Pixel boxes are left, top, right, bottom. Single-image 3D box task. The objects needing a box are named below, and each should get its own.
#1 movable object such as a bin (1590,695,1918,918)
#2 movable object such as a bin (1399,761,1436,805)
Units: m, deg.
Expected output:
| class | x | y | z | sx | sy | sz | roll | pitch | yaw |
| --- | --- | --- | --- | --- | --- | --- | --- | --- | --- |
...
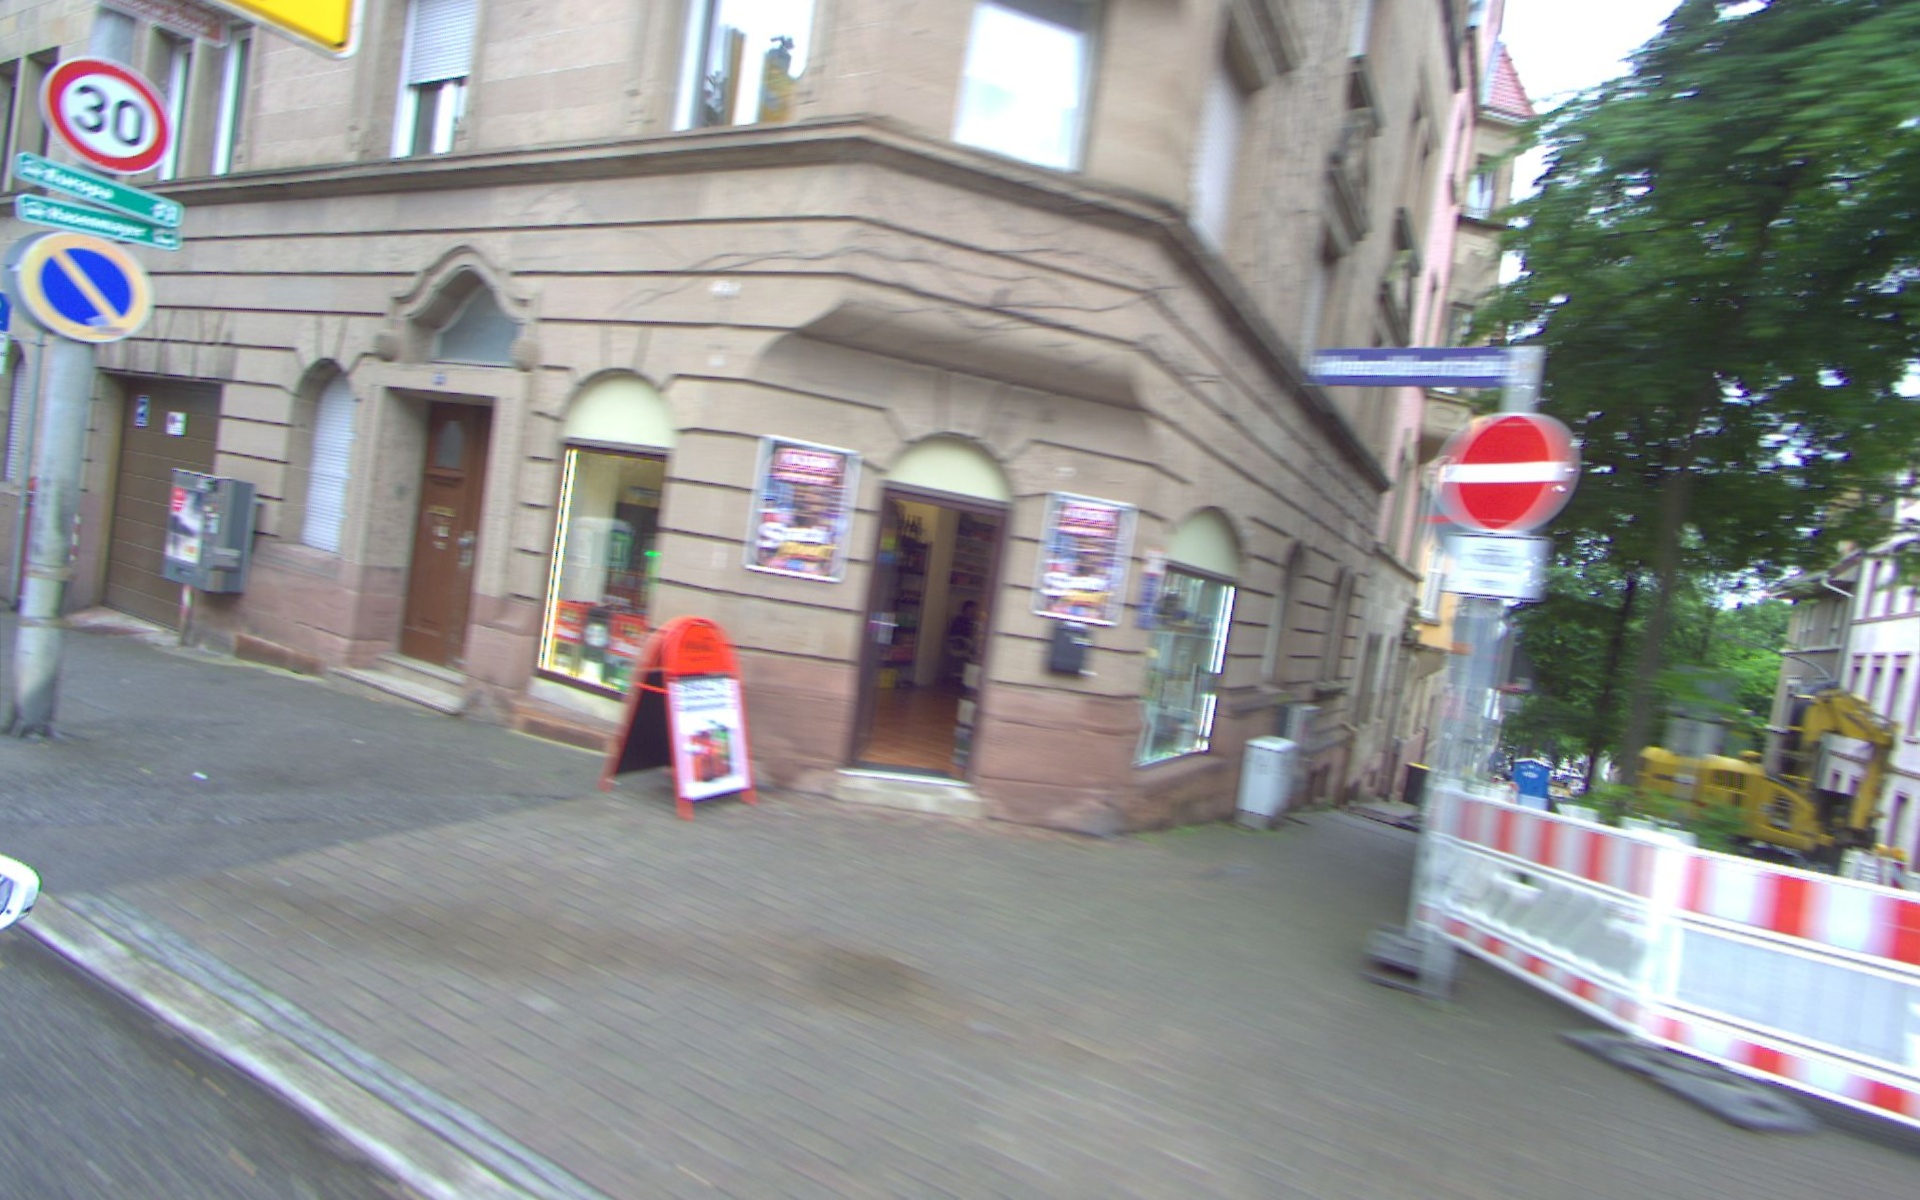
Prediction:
| class | x | y | z | sx | sy | sz | roll | pitch | yaw |
| --- | --- | --- | --- | --- | --- | --- | --- | --- | --- |
| movable object such as a bin | 13.649 | 3.530 | 17.388 | 3.948 | 2.999 | 2.501 | 9 | 0 | -21 |
| movable object such as a bin | 12.262 | 4.901 | 26.966 | 0.630 | 1.020 | 0.673 | 9 | 1 | 39 |
